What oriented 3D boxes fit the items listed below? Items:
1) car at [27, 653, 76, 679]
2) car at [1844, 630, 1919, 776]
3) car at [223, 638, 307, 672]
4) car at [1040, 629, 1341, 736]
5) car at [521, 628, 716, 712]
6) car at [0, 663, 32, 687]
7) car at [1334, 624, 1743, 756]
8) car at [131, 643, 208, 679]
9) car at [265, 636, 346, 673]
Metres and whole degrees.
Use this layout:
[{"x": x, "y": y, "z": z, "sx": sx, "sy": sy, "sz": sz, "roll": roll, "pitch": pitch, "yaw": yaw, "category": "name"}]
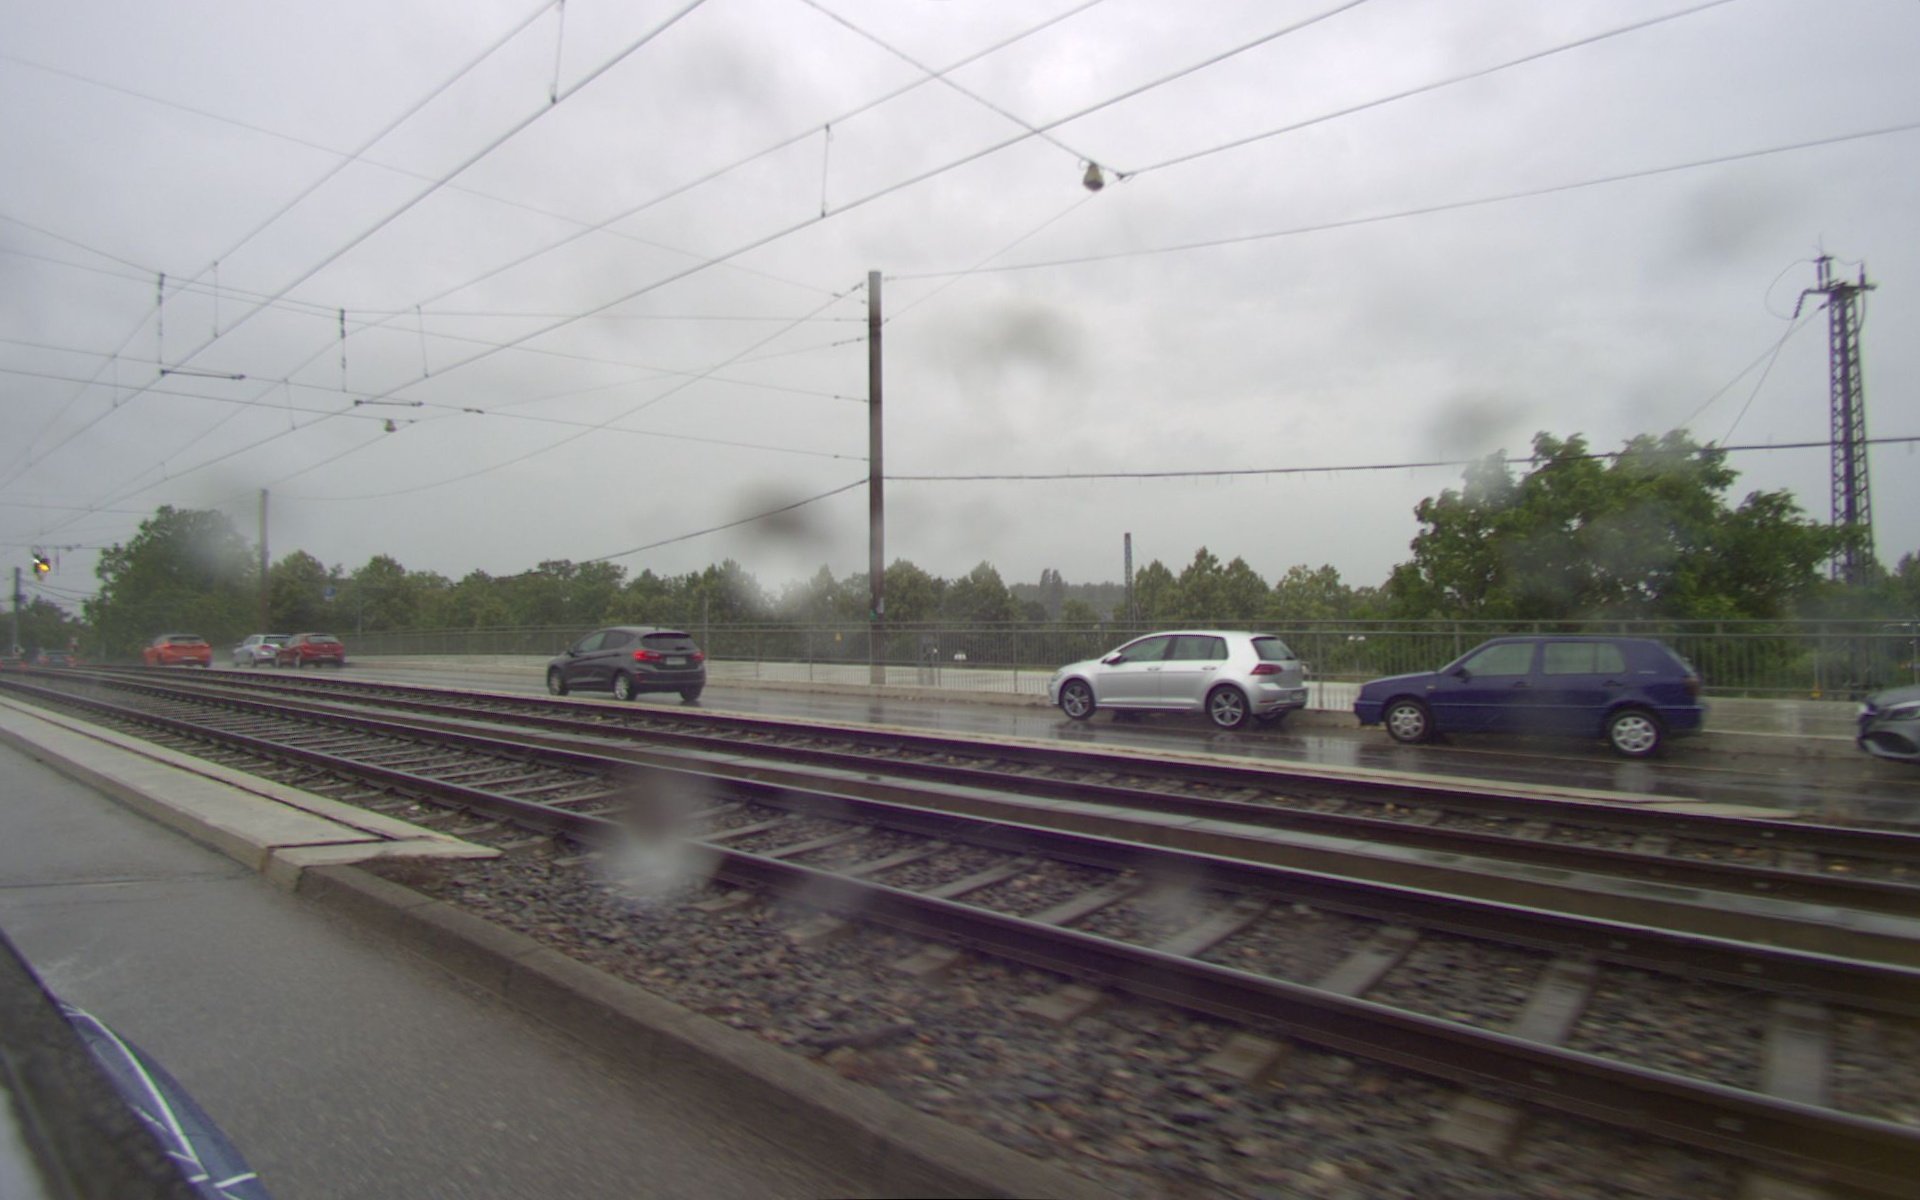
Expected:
[{"x": -57.075, "y": 4.120, "z": 63.576, "sx": 4.081, "sy": 1.493, "sz": 1.781, "roll": -3, "pitch": -1, "yaw": 41, "category": "car"}, {"x": 11.177, "y": 0.957, "z": 9.304, "sx": 4.399, "sy": 1.412, "sz": 1.492, "roll": -3, "pitch": -4, "yaw": 36, "category": "car"}, {"x": -31.876, "y": 2.543, "z": 46.389, "sx": 4.616, "sy": 1.467, "sz": 1.973, "roll": -3, "pitch": -5, "yaw": 40, "category": "car"}, {"x": 3.560, "y": 1.272, "z": 16.103, "sx": 4.315, "sy": 1.467, "sz": 1.845, "roll": -3, "pitch": -5, "yaw": 40, "category": "car"}, {"x": -6.978, "y": 1.451, "z": 20.487, "sx": 4.262, "sy": 1.379, "sz": 1.797, "roll": -7, "pitch": -4, "yaw": 41, "category": "car"}, {"x": -72.730, "y": 5.763, "z": 77.622, "sx": 3.998, "sy": 1.667, "sz": 1.799, "roll": -3, "pitch": -1, "yaw": 41, "category": "car"}, {"x": 7.146, "y": 1.085, "z": 12.794, "sx": 4.277, "sy": 1.412, "sz": 1.491, "roll": -3, "pitch": -5, "yaw": 39, "category": "car"}, {"x": -32.947, "y": 2.528, "z": 42.152, "sx": 4.081, "sy": 1.326, "sz": 1.781, "roll": -3, "pitch": -1, "yaw": 41, "category": "car"}, {"x": -27.550, "y": 2.321, "z": 42.570, "sx": 4.318, "sy": 1.467, "sz": 1.604, "roll": -3, "pitch": -5, "yaw": 40, "category": "car"}]
